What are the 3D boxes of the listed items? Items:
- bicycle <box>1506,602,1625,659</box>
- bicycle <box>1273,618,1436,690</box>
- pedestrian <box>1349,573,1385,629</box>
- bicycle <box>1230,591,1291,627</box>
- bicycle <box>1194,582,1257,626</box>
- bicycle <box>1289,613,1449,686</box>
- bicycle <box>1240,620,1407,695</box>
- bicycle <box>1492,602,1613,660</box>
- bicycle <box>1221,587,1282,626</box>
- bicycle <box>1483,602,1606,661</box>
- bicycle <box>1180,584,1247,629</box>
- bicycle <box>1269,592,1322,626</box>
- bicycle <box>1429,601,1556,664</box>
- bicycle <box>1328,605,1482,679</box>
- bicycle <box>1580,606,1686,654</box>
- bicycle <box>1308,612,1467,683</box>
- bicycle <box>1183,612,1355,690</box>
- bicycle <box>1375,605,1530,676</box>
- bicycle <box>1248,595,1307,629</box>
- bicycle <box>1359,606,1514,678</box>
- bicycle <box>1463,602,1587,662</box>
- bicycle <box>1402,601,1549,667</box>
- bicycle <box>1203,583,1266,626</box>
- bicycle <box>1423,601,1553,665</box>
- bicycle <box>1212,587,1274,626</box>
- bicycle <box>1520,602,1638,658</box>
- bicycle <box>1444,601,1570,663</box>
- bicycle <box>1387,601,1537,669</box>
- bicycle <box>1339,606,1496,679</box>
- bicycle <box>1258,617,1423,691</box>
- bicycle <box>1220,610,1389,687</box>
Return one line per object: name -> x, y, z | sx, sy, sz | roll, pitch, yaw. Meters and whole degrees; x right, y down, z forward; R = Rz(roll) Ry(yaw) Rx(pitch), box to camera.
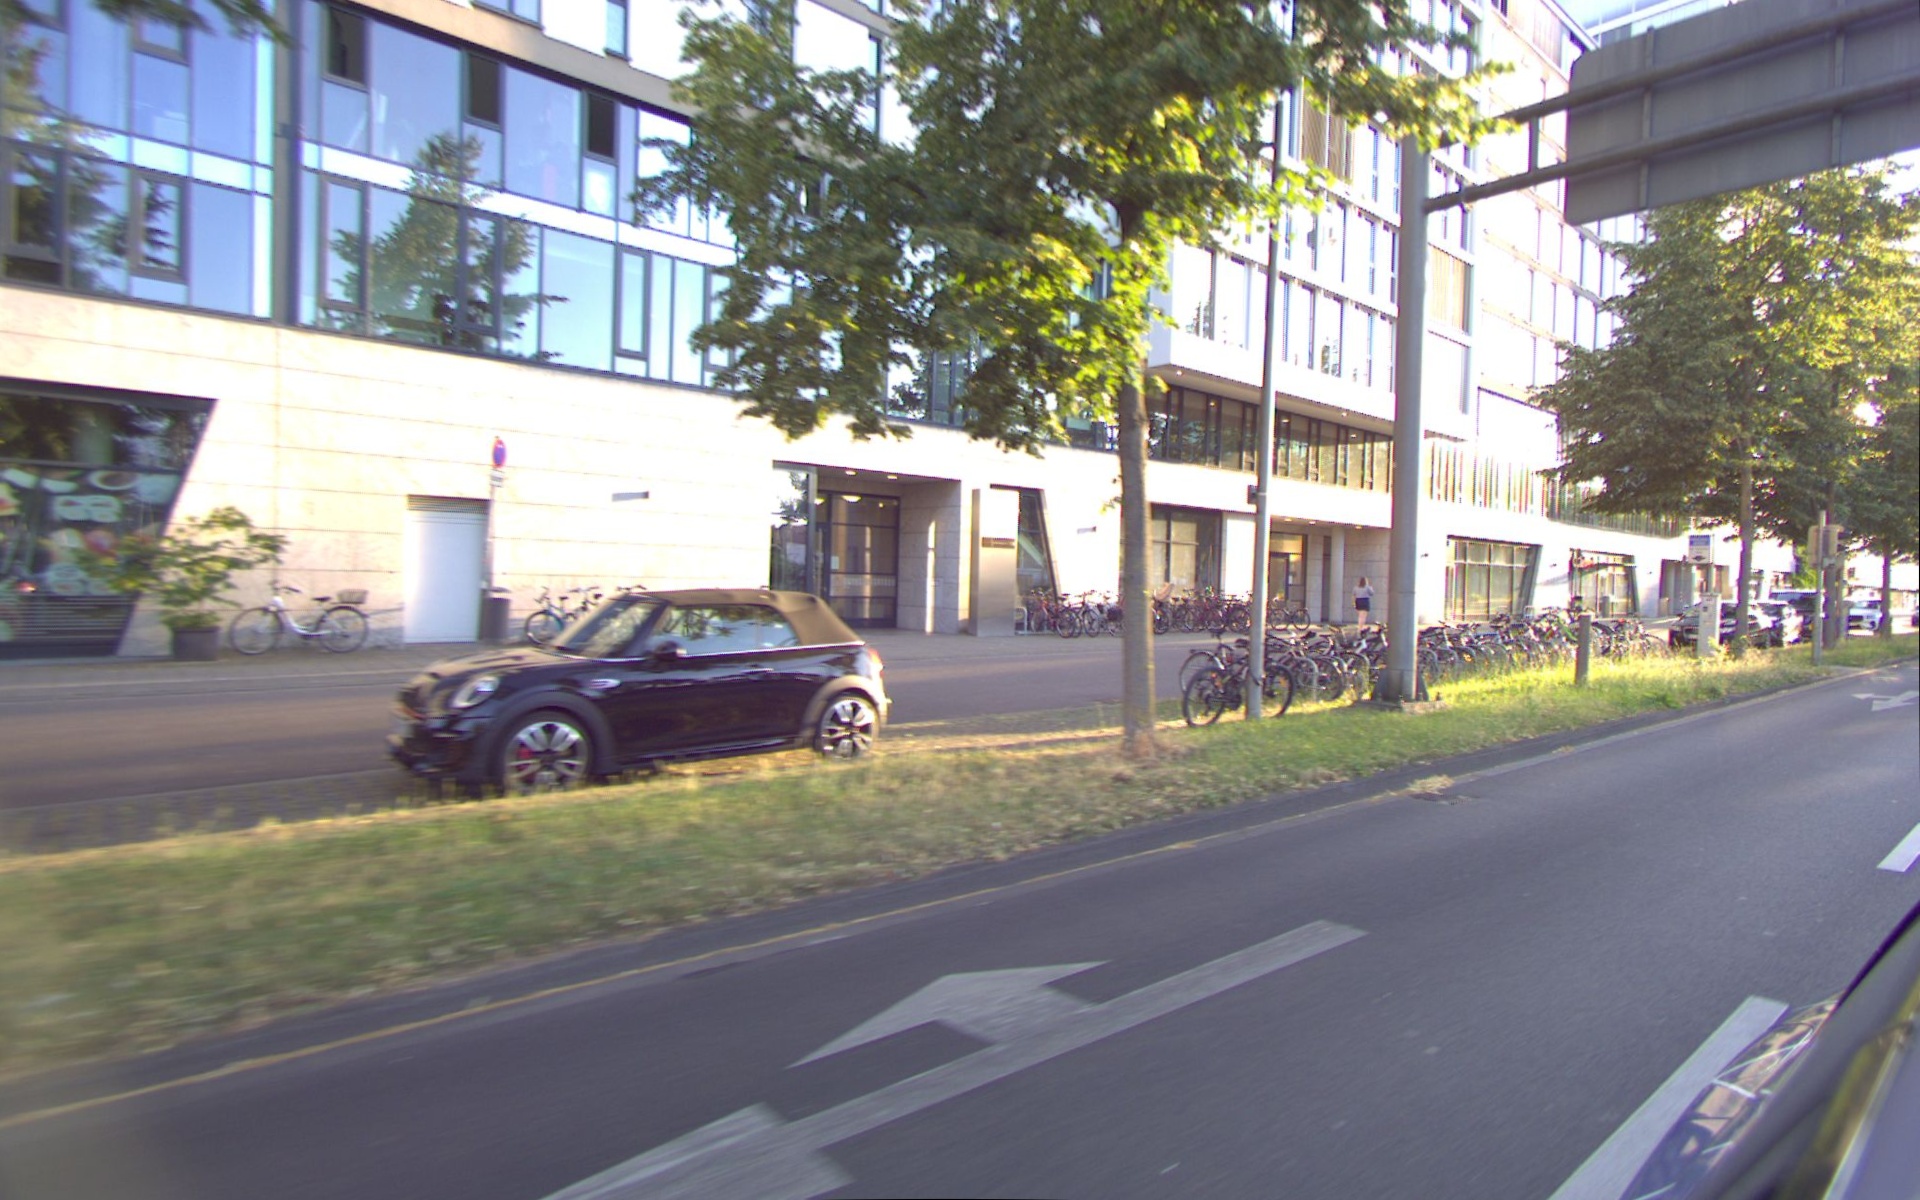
bicycle -> 11.828, 0.608, 19.825 | 1.941, 1.067, 0.342 | -2, -2, 43
bicycle -> 5.569, 0.758, 14.419 | 2.141, 0.952, 0.436 | -2, -2, 44
pedestrian -> 12.507, 0.022, 31.104 | 0.937, 1.669, 0.644 | 1, 1, -41
bicycle -> 8.985, 0.261, 30.324 | 0.396, 0.999, 1.835 | 1, 1, -39
bicycle -> 7.588, 0.110, 29.023 | 0.437, 1.192, 1.835 | 1, 1, -39
bicycle -> 5.924, 0.712, 14.764 | 2.142, 0.986, 0.436 | -2, -2, 44
bicycle -> 4.914, 0.764, 13.808 | 2.142, 0.952, 0.436 | -2, -2, 44
bicycle -> 11.365, 0.600, 19.460 | 1.941, 1.067, 0.408 | -2, -2, 43
bicycle -> 8.650, 0.177, 30.065 | 0.396, 1.070, 1.835 | 1, 1, -39
bicycle -> 10.983, 0.604, 19.065 | 1.941, 1.067, 0.408 | -2, -2, 43
bicycle -> 7.158, 0.169, 28.647 | 0.495, 1.192, 1.833 | 1, 1, -42
bicycle -> 10.542, 0.275, 31.836 | 0.396, 0.999, 1.579 | 1, 1, -39
bicycle -> 9.411, 0.582, 17.962 | 1.941, 1.067, 0.398 | -3, -2, 44
bicycle -> 6.678, 0.631, 15.311 | 2.142, 1.067, 0.295 | -3, -2, 44
bicycle -> 15.584, 0.698, 23.484 | 0.535, 1.067, 1.945 | 1, -2, -40
bicycle -> 6.317, 0.696, 15.056 | 2.142, 0.999, 0.436 | -2, -2, 44
bicycle -> 4.016, 0.655, 13.328 | 2.142, 0.952, 0.537 | -2, -2, 44
bicycle -> 7.879, 0.643, 16.277 | 2.142, 1.067, 0.562 | -3, -2, 44
bicycle -> 9.632, 0.352, 30.742 | 0.396, 0.964, 1.748 | 1, 1, -39
bicycle -> 7.471, 0.652, 15.955 | 2.142, 1.067, 0.516 | -3, -2, 44
bicycle -> 10.400, 0.595, 18.691 | 1.941, 1.067, 0.408 | -2, -2, 43
bicycle -> 8.741, 0.585, 17.244 | 2.142, 1.067, 0.562 | -3, -2, 44
bicycle -> 7.942, 0.117, 29.379 | 0.437, 1.192, 1.835 | 1, 1, -39
bicycle -> 9.152, 0.575, 17.604 | 1.941, 1.067, 0.398 | -3, -2, 44
bicycle -> 8.302, 0.176, 29.735 | 0.437, 1.060, 1.835 | 1, 1, -39
bicycle -> 12.189, 0.596, 19.974 | 1.941, 1.067, 0.309 | -2, -2, 43
bicycle -> 9.818, 0.585, 18.230 | 0.397, 1.067, 1.943 | 1, -2, -42
bicycle -> 8.272, 0.580, 16.752 | 2.142, 1.067, 0.553 | -3, -2, 44
bicycle -> 7.009, 0.651, 15.604 | 2.142, 1.067, 0.516 | -3, -2, 44
bicycle -> 5.254, 0.739, 14.096 | 2.142, 0.952, 0.445 | -3, -2, 45
bicycle -> 4.541, 0.637, 13.501 | 2.142, 0.952, 0.436 | -2, -2, 44
